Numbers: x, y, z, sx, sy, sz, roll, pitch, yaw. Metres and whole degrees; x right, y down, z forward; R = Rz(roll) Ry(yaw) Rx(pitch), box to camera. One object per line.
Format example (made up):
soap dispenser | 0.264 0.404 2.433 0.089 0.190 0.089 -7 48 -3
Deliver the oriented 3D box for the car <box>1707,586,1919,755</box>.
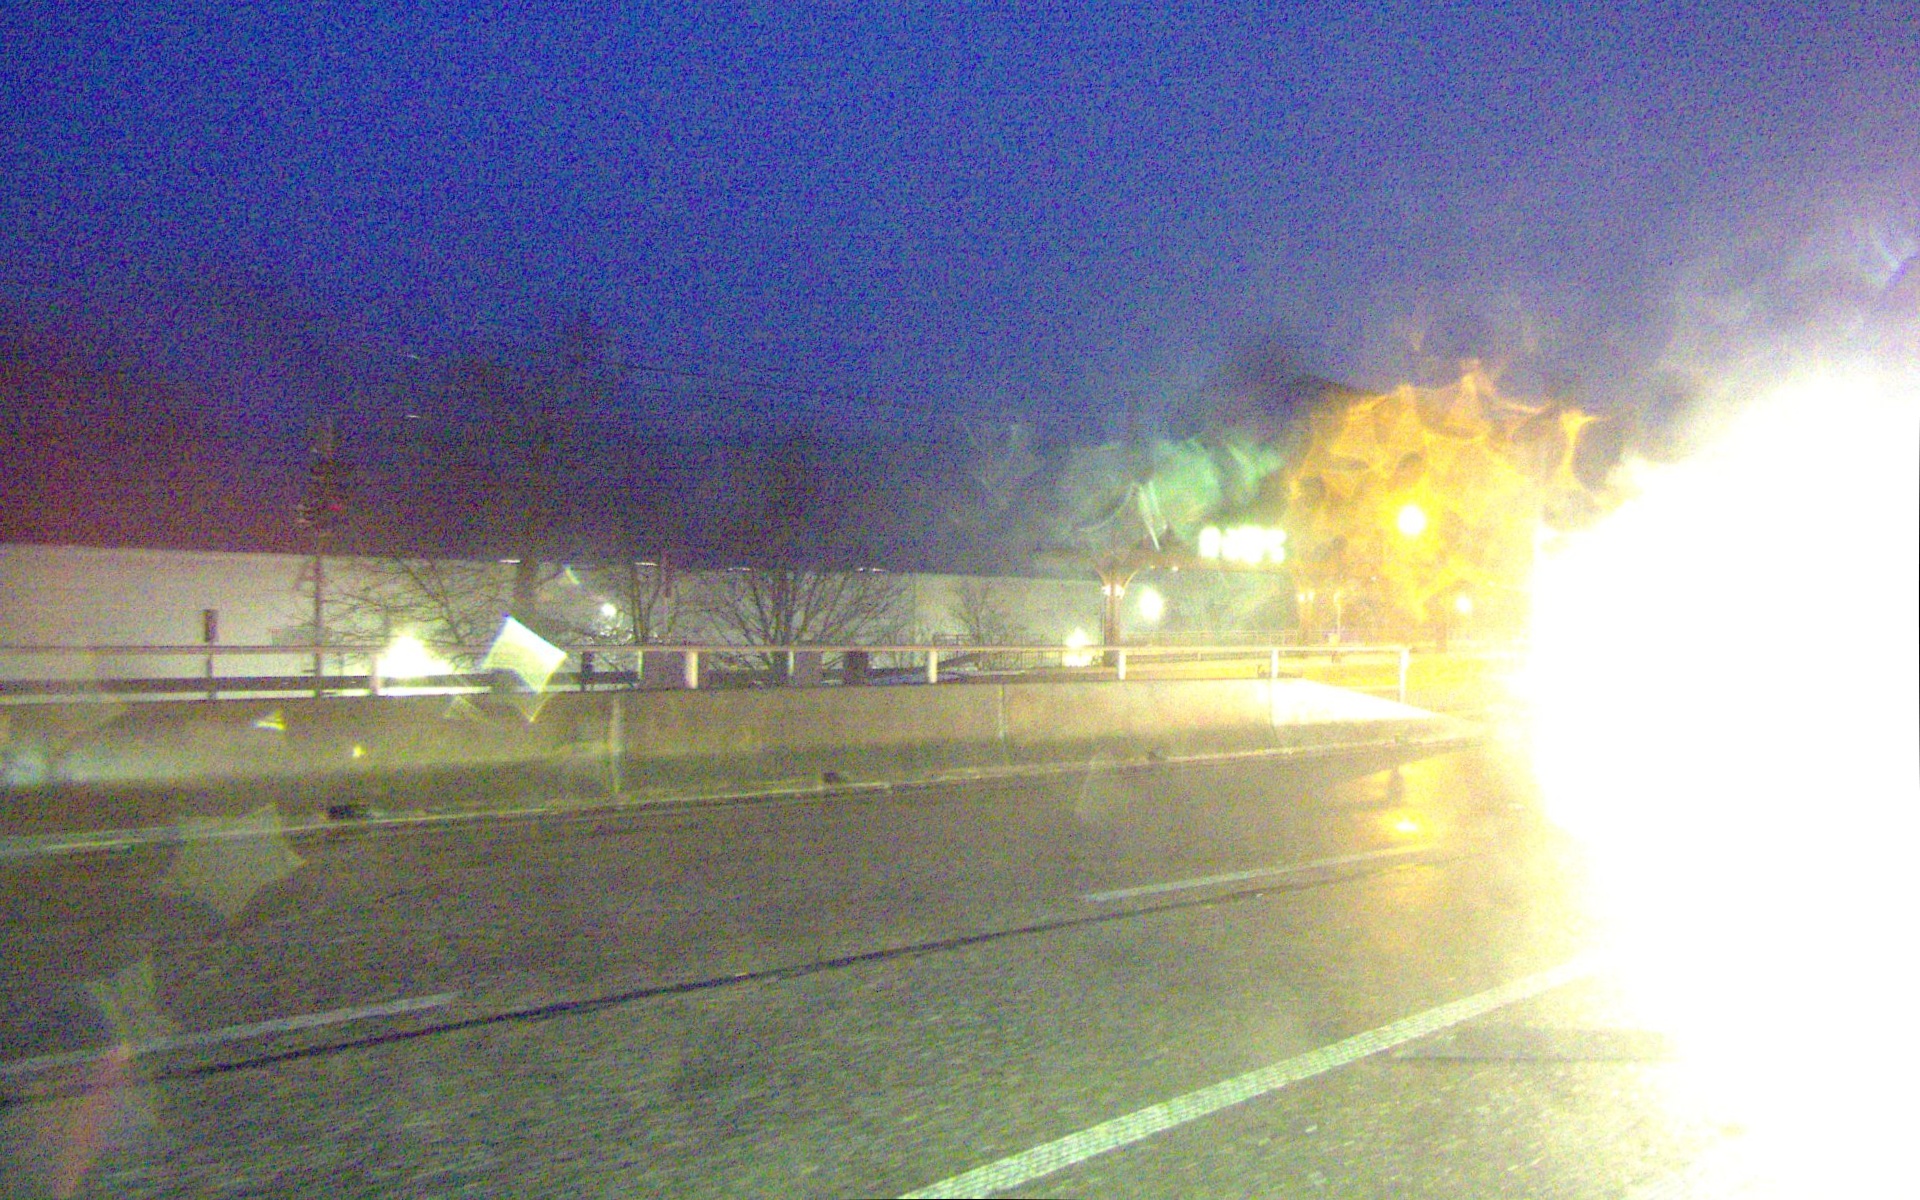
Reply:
car | 12.368 0.859 13.658 4.689 1.937 1.983 1 -1 -32
